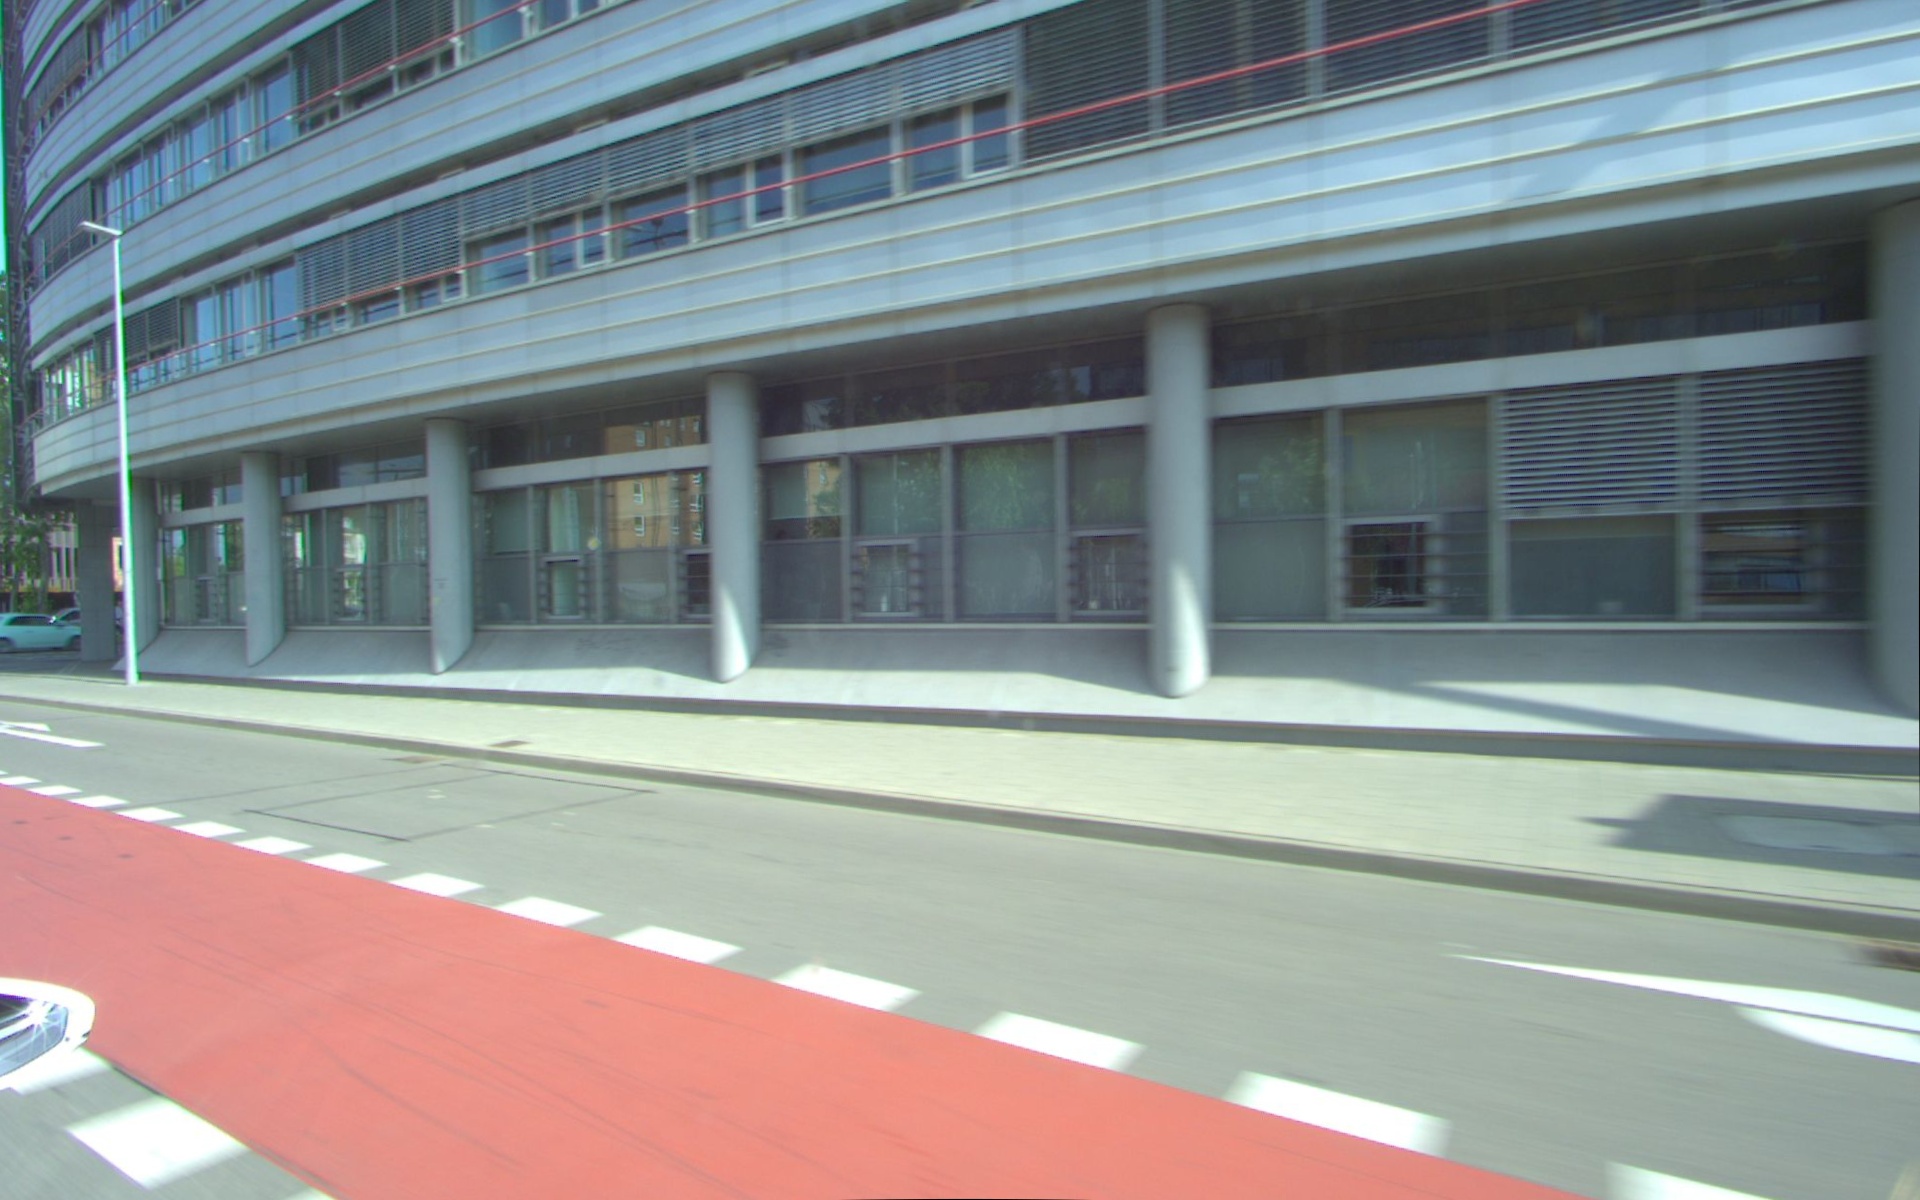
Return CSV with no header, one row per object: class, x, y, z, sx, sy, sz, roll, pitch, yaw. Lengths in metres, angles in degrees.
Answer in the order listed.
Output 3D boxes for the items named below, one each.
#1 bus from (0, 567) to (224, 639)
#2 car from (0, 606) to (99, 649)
bus,-52.100,0.218,56.967,2.817,3.859,17.622,-2,-1,22
car,-35.778,1.059,38.656,1.706,1.562,3.438,-2,-1,22
